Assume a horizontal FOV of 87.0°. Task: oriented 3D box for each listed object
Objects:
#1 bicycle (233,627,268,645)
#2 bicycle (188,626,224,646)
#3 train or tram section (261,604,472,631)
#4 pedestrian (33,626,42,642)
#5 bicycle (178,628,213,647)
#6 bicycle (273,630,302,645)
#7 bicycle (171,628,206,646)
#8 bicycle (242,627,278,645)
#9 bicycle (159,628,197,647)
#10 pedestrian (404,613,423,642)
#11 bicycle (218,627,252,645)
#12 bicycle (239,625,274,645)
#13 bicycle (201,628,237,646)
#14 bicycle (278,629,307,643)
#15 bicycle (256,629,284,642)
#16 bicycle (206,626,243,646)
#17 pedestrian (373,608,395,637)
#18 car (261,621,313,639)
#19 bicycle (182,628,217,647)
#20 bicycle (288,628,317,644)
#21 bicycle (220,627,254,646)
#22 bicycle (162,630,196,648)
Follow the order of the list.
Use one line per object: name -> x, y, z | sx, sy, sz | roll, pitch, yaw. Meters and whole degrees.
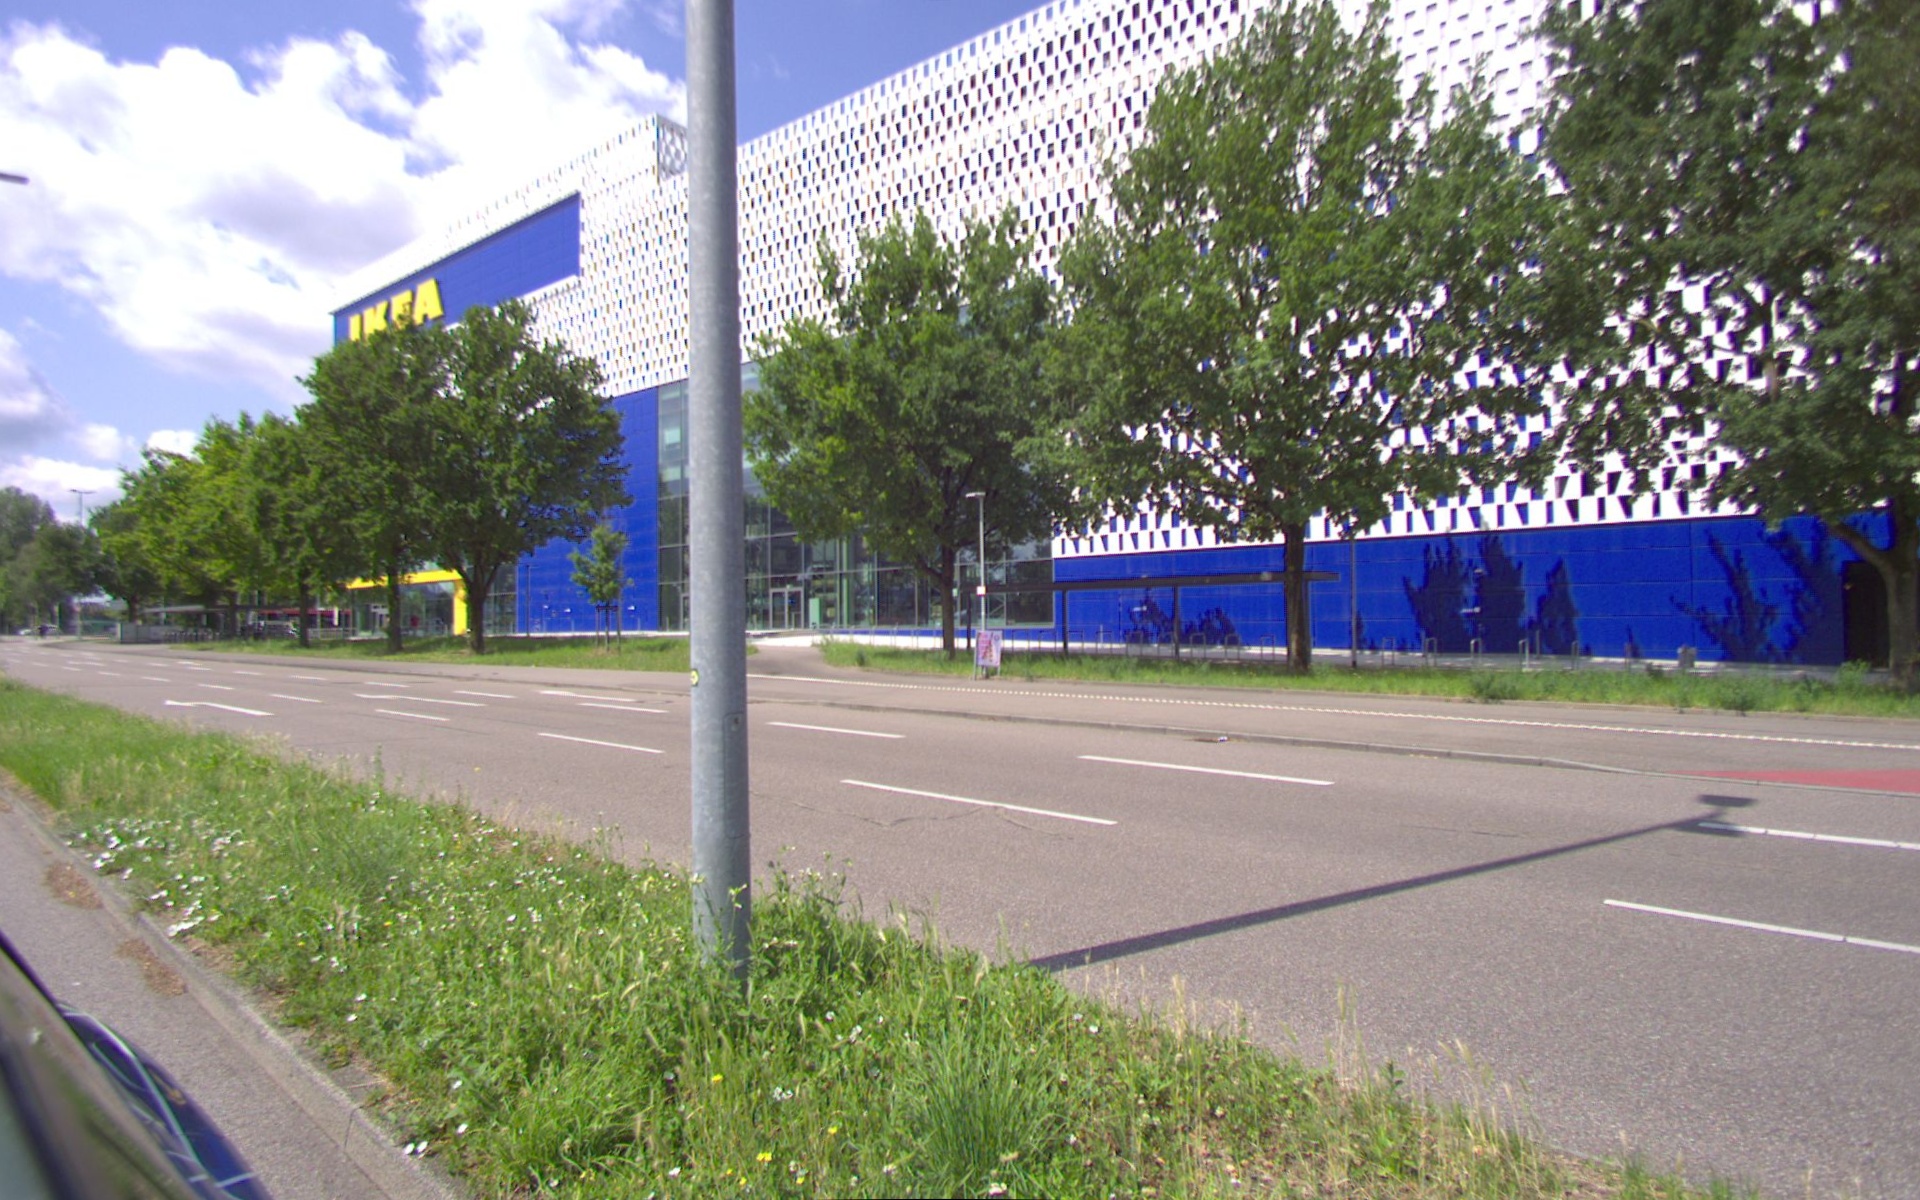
bicycle -> -49.548, 2.536, 70.687 | 0.629, 1.188, 1.906 | -3, -2, 39
bicycle -> -51.963, 2.488, 69.769 | 0.629, 1.282, 1.906 | -3, -2, 39
train or tram section -> -79.774, 2.513, 137.494 | 4.523, 3.055, 24.809 | -2, -3, 37
pedestrian -> -87.733, 3.269, 96.239 | 0.615, 1.502, 0.435 | -1, -1, 23
bicycle -> -54.540, 2.655, 72.212 | 0.629, 1.282, 1.906 | -3, -2, 39
bicycle -> -55.074, 3.062, 82.859 | 0.519, 1.098, 1.913 | -3, -2, 35
bicycle -> -55.591, 2.649, 72.962 | 0.629, 1.282, 1.906 | -3, -2, 39
bicycle -> -47.982, 2.465, 69.360 | 0.629, 1.193, 1.906 | -3, -2, 39
bicycle -> -56.672, 2.720, 73.378 | 0.629, 1.282, 2.069 | -3, -2, 39
pedestrian -> -34.374, 1.720, 63.634 | 0.886, 1.836, 0.746 | -2, -1, 39
bicycle -> -52.407, 2.596, 73.174 | 0.629, 1.282, 1.906 | -3, -2, 39
bicycle -> -48.684, 2.410, 70.019 | 0.629, 1.282, 1.906 | -3, -2, 39
bicycle -> -50.024, 2.494, 68.323 | 0.629, 1.192, 1.906 | -3, -2, 39
bicycle -> -54.211, 2.938, 82.215 | 0.528, 1.078, 1.917 | -1, -1, 35
bicycle -> -57.509, 2.967, 84.347 | 0.528, 1.078, 1.917 | -1, -1, 35
bicycle -> -49.171, 2.396, 67.645 | 0.629, 1.282, 1.906 | -3, -2, 39
pedestrian -> -35.450, 1.378, 62.257 | 0.886, 1.715, 0.941 | -2, -1, 39
car -> -80.482, 3.593, 121.078 | 1.996, 2.029, 4.764 | -3, -2, 36
bicycle -> -53.724, 2.616, 71.501 | 0.629, 1.282, 1.906 | -3, -2, 39
bicycle -> -52.907, 2.885, 81.410 | 0.528, 1.219, 1.917 | -1, -1, 35
bicycle -> -51.715, 2.583, 72.426 | 0.629, 1.282, 1.906 | -3, -2, 39
bicycle -> -57.388, 2.850, 74.379 | 0.629, 1.282, 1.906 | -3, -2, 39
